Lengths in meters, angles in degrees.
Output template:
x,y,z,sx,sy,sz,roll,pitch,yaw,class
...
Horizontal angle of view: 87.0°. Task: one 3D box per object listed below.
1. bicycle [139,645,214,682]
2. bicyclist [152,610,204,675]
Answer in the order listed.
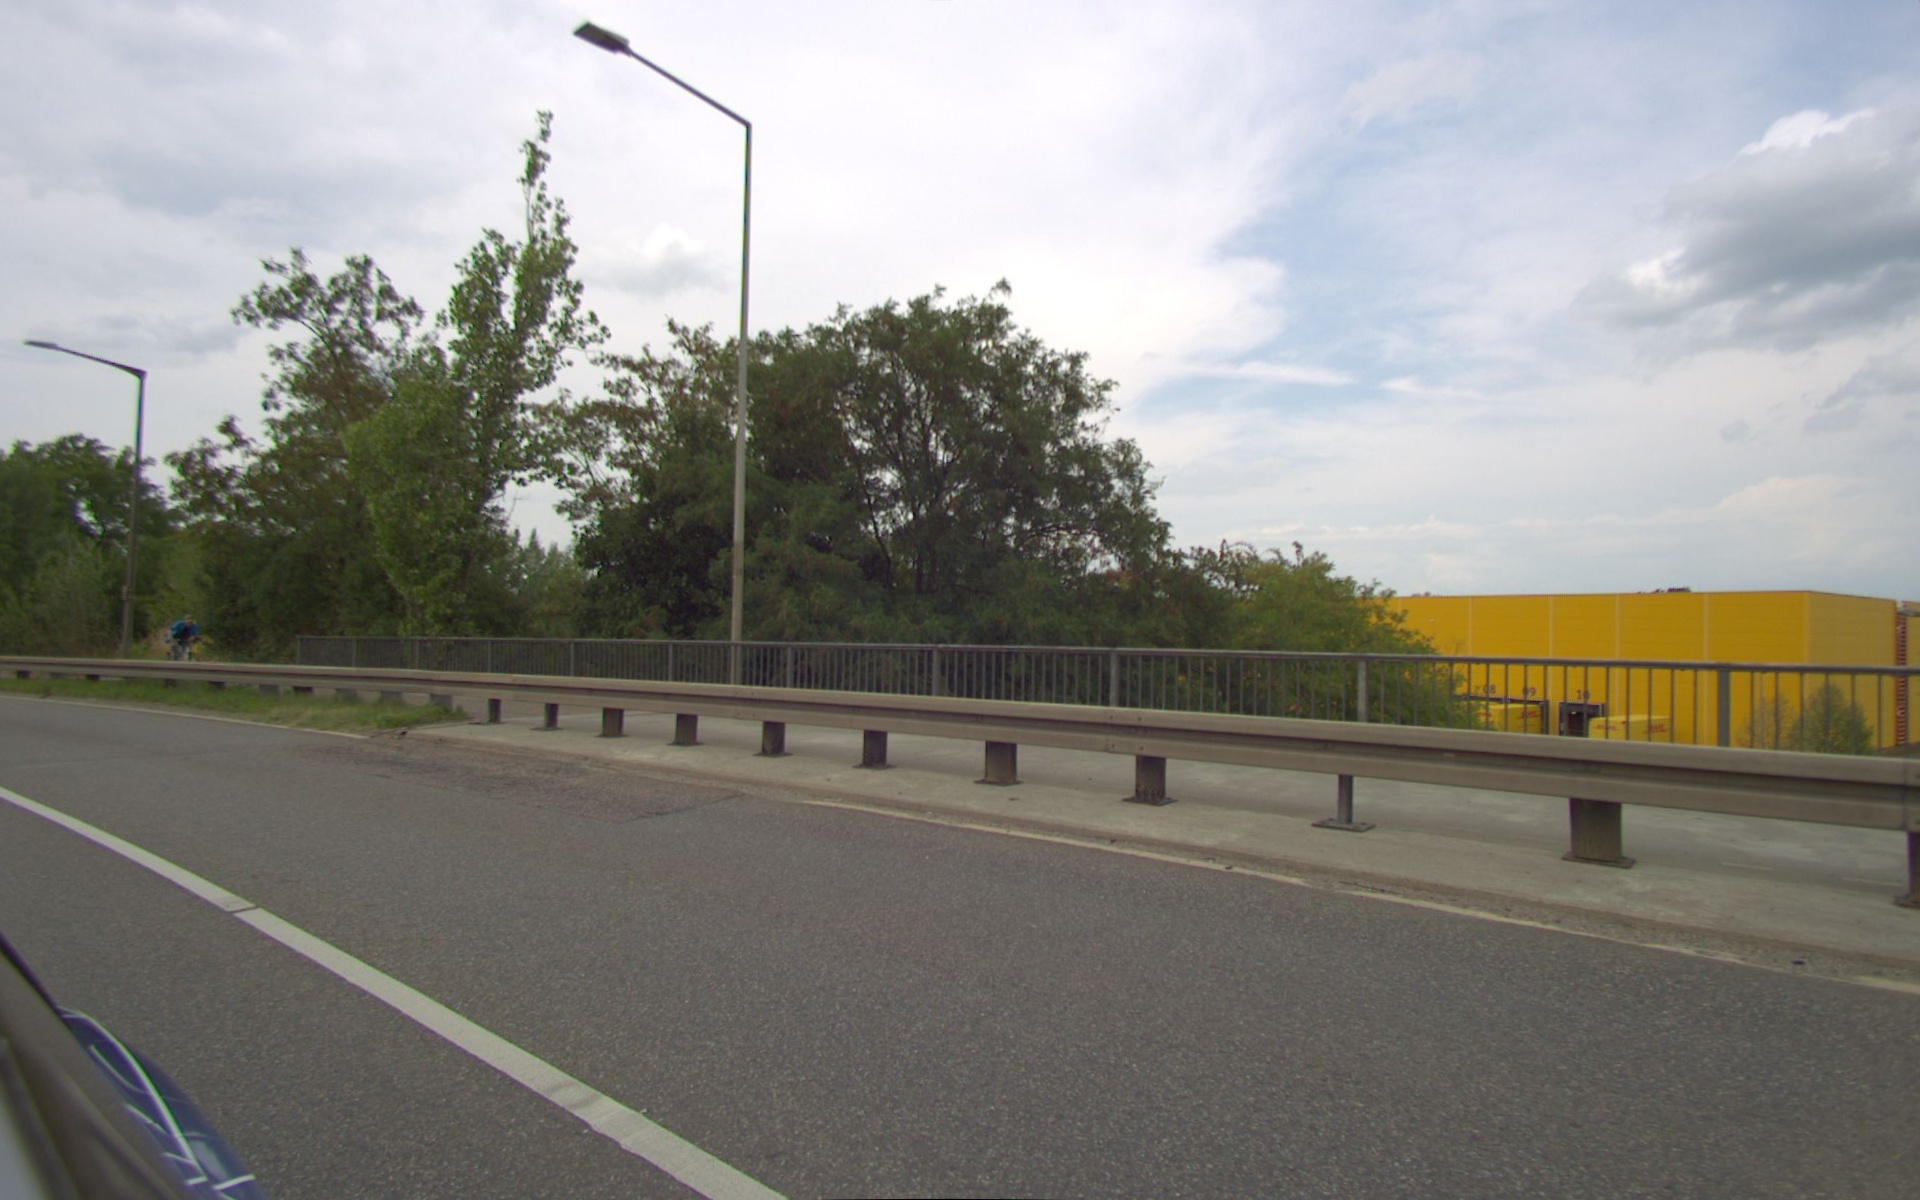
x,y,z,sx,sy,sz,roll,pitch,yaw,class
-17.948,1.444,23.172,1.885,0.804,0.687,-2,-1,30,bicycle
-17.898,0.965,23.159,0.745,1.455,0.706,-2,-1,29,bicyclist
